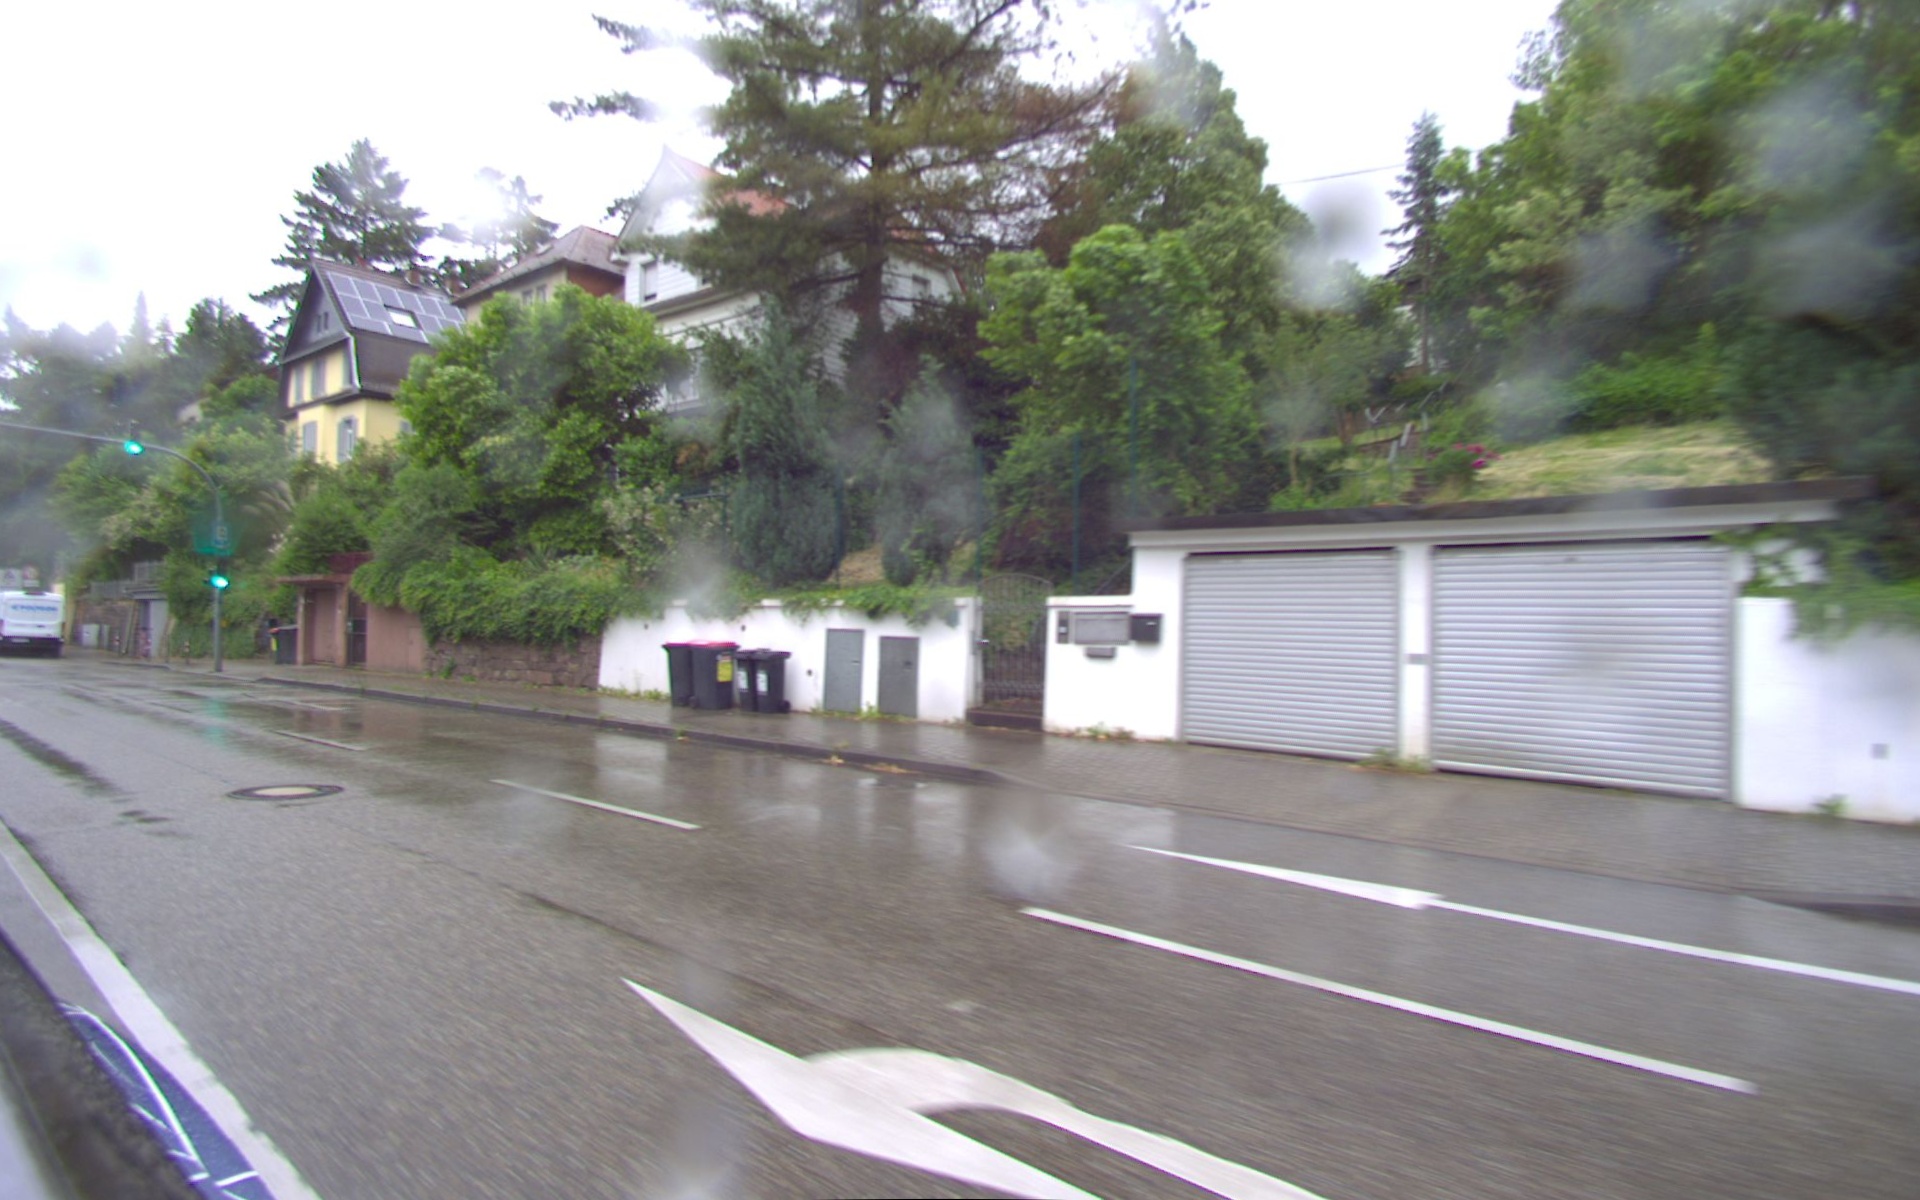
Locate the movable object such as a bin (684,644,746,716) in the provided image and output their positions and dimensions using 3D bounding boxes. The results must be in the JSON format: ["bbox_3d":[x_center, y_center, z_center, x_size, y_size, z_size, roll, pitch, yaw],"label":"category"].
[{"bbox_3d":[-3.808,1.230,15.750,0.656,1.048,0.674,-1,-1,39],"label":"movable object such as a bin"}]

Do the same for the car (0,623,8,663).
[{"bbox_3d":[-50.201,2.080,51.268,4.912,1.971,2.135,-1,-5,40],"label":"car"}]

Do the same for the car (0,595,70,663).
[{"bbox_3d":[-37.160,1.139,39.989,4.849,2.497,2.059,-1,-5,40],"label":"car"}]

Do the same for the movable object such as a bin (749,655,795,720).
[{"bbox_3d":[-2.790,1.288,15.022,0.416,0.905,0.526,-1,-1,39],"label":"movable object such as a bin"}]

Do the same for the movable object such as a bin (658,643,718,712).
[{"bbox_3d":[-4.384,1.229,16.305,0.656,1.048,0.674,-1,-1,39],"label":"movable object such as a bin"}]

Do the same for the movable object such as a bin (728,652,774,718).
[{"bbox_3d":[-3.160,1.267,15.290,0.416,0.947,0.537,-1,-1,39],"label":"movable object such as a bin"}]

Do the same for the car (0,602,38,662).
[{"bbox_3d":[-42.073,1.338,43.997,4.912,2.487,2.135,-1,-5,40],"label":"car"}]
